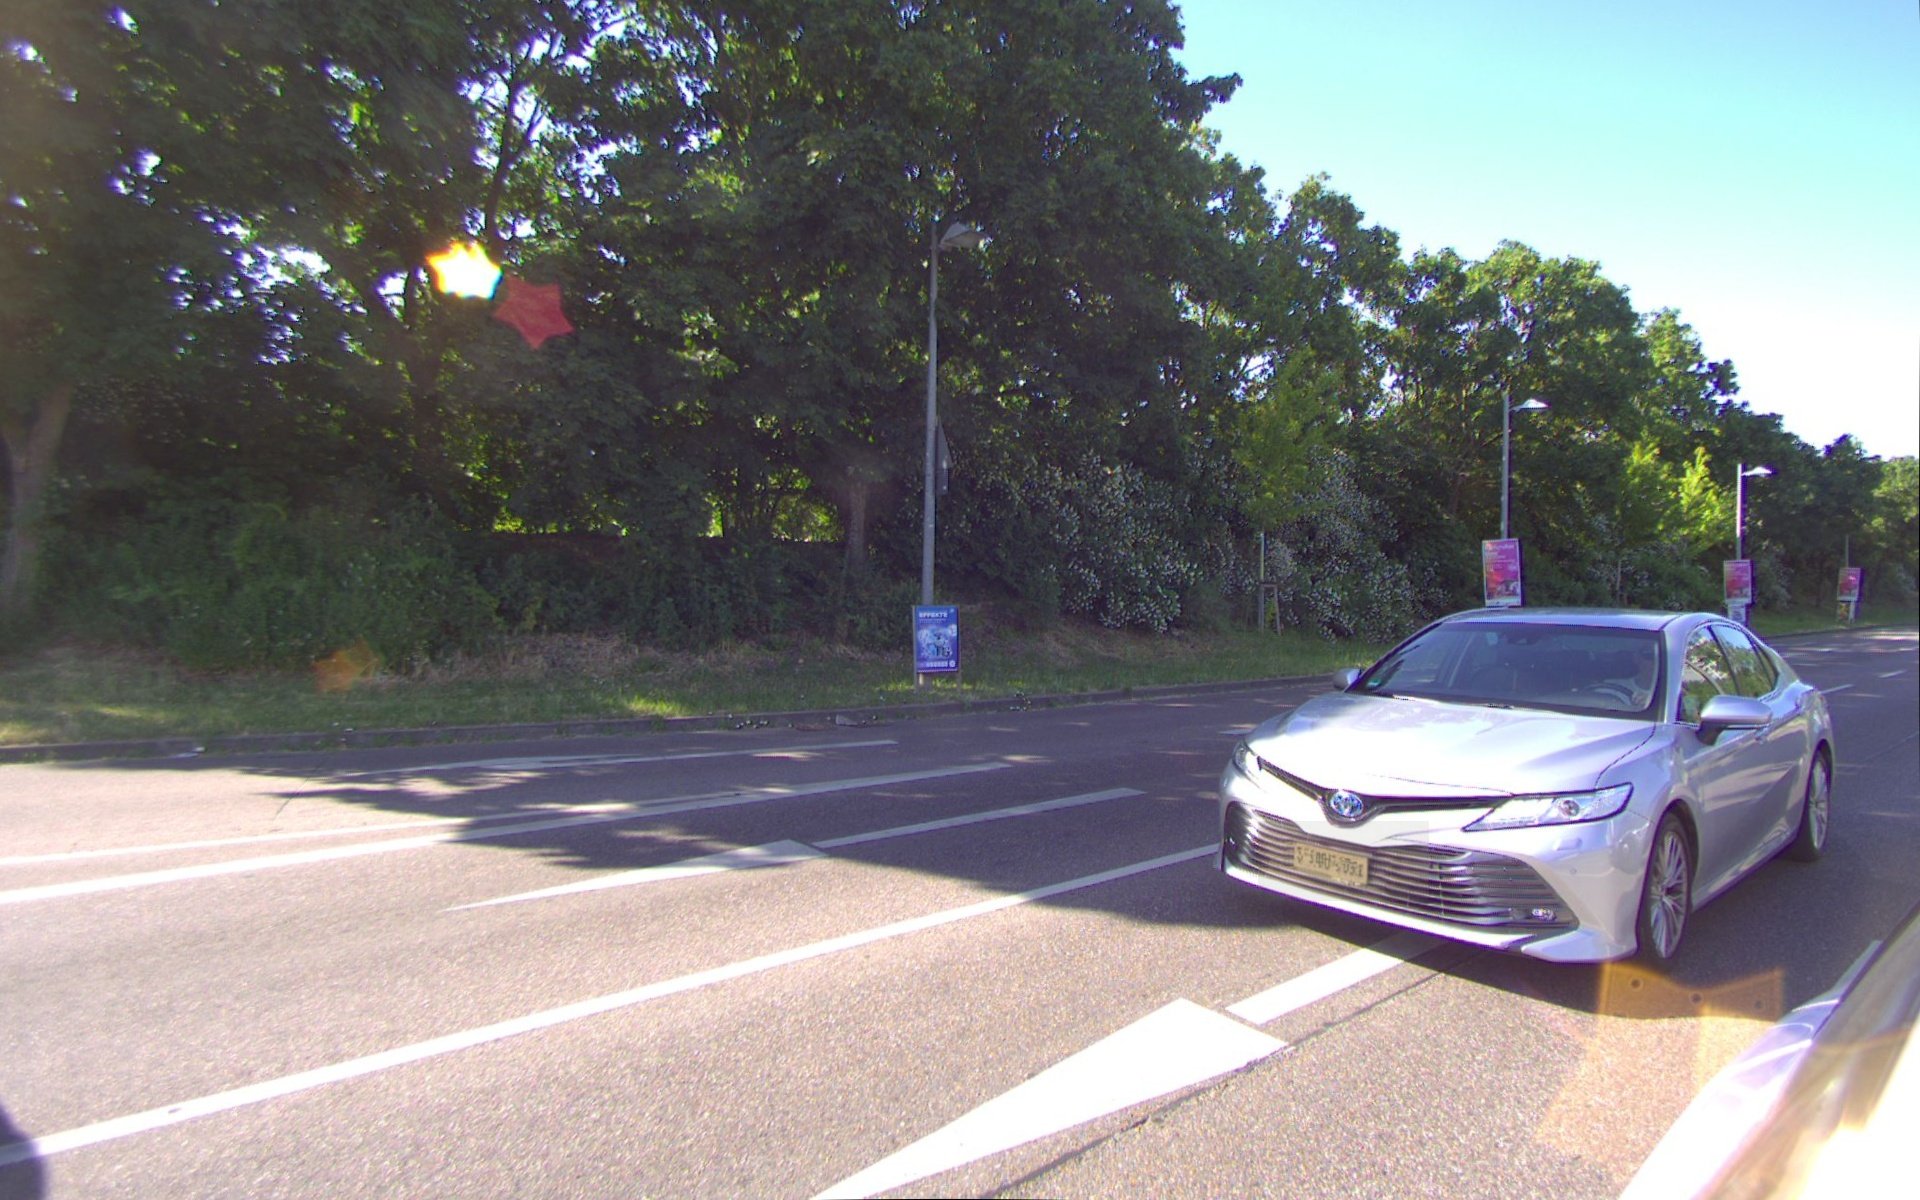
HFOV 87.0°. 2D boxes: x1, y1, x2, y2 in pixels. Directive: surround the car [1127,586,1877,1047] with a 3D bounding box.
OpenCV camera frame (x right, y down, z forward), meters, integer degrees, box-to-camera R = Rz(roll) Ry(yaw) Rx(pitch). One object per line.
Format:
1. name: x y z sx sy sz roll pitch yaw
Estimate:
1. car: 3.265 0.695 5.621 4.664 1.477 2.069 0 2 -40
